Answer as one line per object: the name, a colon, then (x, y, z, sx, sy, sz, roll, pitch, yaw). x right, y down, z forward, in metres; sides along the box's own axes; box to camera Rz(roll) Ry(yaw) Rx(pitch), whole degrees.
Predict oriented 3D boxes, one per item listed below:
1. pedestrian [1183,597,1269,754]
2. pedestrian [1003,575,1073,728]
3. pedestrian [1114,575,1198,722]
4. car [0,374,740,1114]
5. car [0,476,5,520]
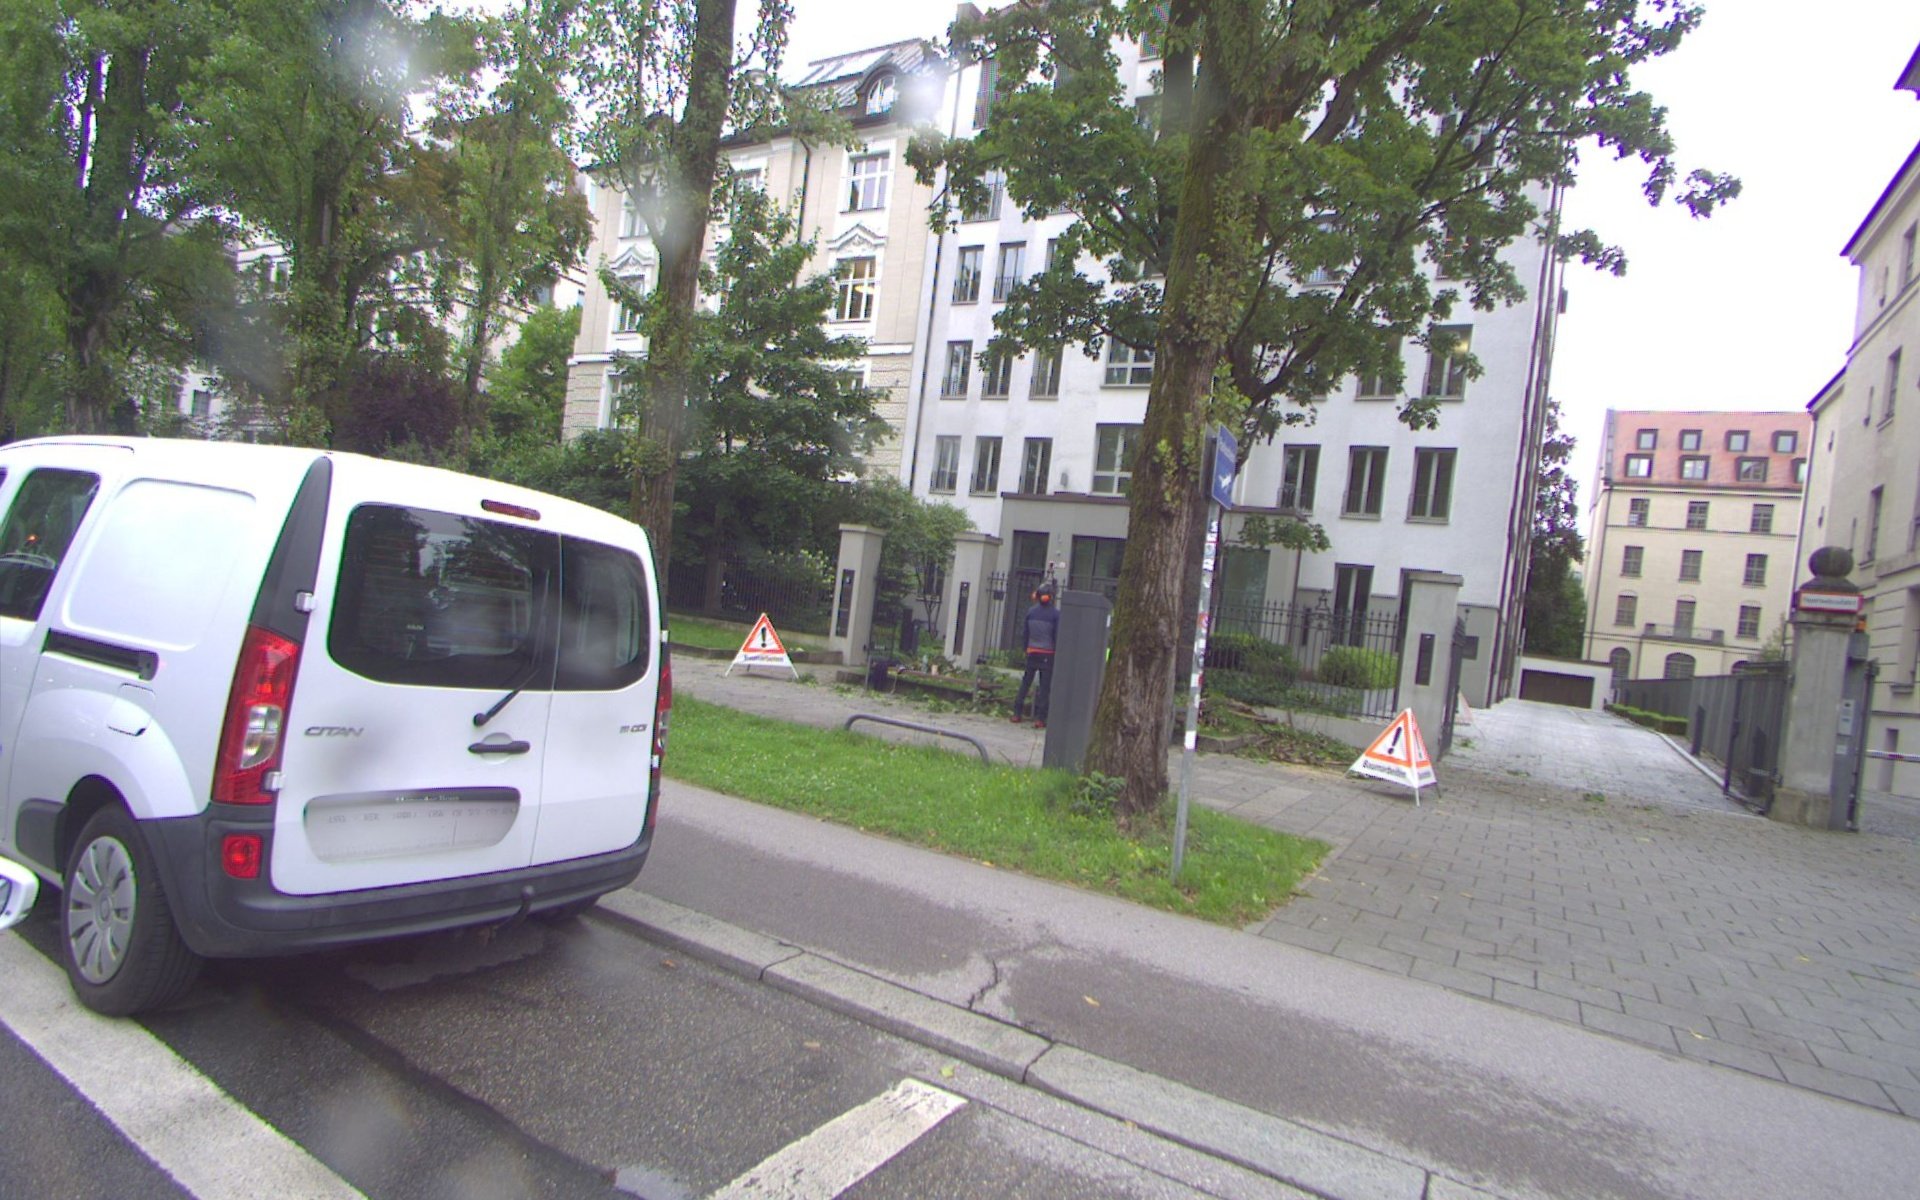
pedestrian: (3.298, 0.920, 12.534, 0.805, 1.804, 0.802, 7, 1, 14)
pedestrian: (1.017, 0.662, 13.064, 0.626, 1.886, 0.488, 7, 1, 14)
pedestrian: (2.650, 0.649, 13.688, 0.814, 1.823, 0.904, 9, 2, 10)
car: (-3.232, 0.217, 4.403, 4.097, 1.905, 1.854, 7, 0, 30)
car: (-9.366, -0.396, 7.773, 4.141, 1.612, 1.743, 7, 0, 31)
